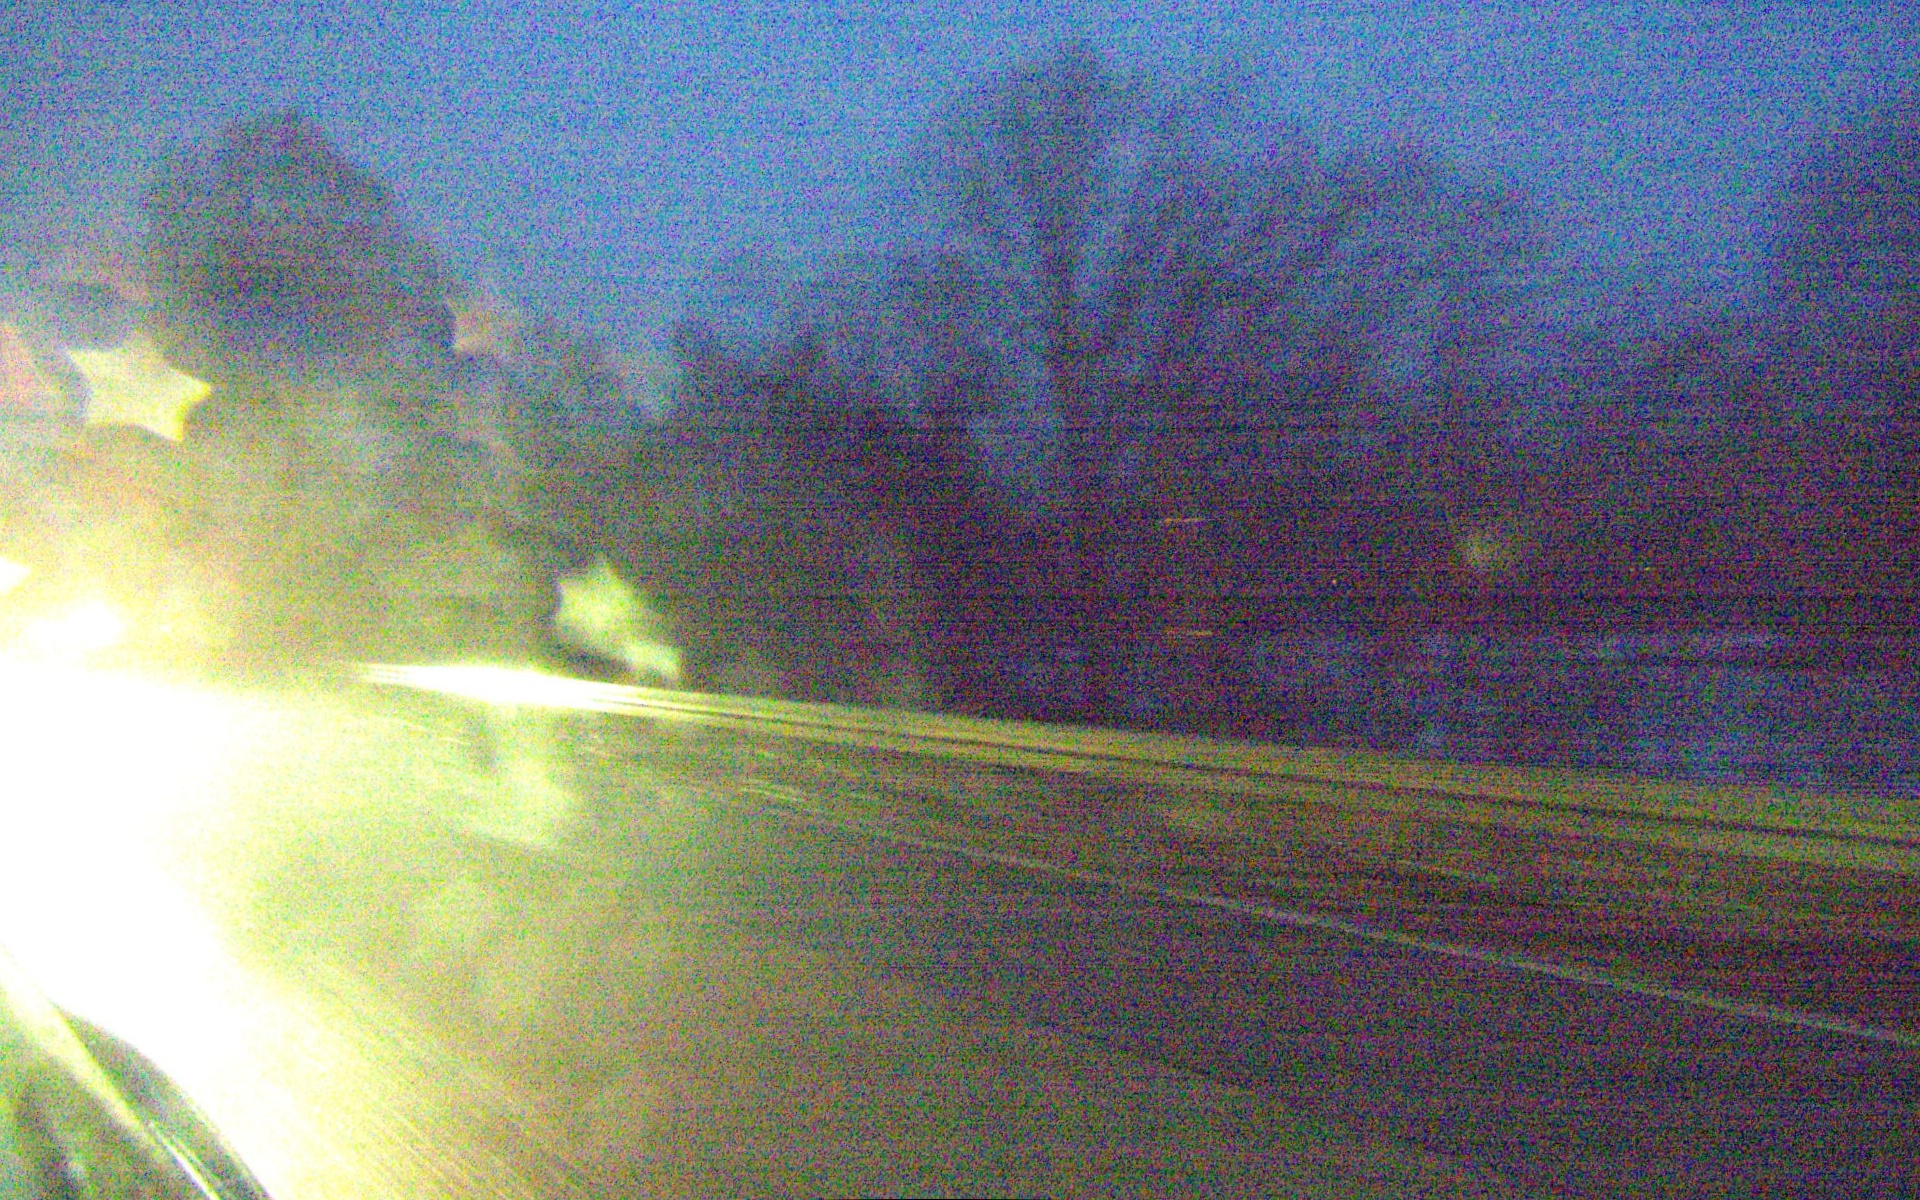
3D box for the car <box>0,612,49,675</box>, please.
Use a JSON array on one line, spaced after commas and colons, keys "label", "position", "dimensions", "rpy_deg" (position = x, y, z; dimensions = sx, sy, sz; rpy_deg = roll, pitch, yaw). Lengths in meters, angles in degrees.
[{"label": "car", "position": [-32.580, 1.472, 34.471], "dimensions": [4.457, 2.029, 1.971], "rpy_deg": [-2, -2, 44]}]
